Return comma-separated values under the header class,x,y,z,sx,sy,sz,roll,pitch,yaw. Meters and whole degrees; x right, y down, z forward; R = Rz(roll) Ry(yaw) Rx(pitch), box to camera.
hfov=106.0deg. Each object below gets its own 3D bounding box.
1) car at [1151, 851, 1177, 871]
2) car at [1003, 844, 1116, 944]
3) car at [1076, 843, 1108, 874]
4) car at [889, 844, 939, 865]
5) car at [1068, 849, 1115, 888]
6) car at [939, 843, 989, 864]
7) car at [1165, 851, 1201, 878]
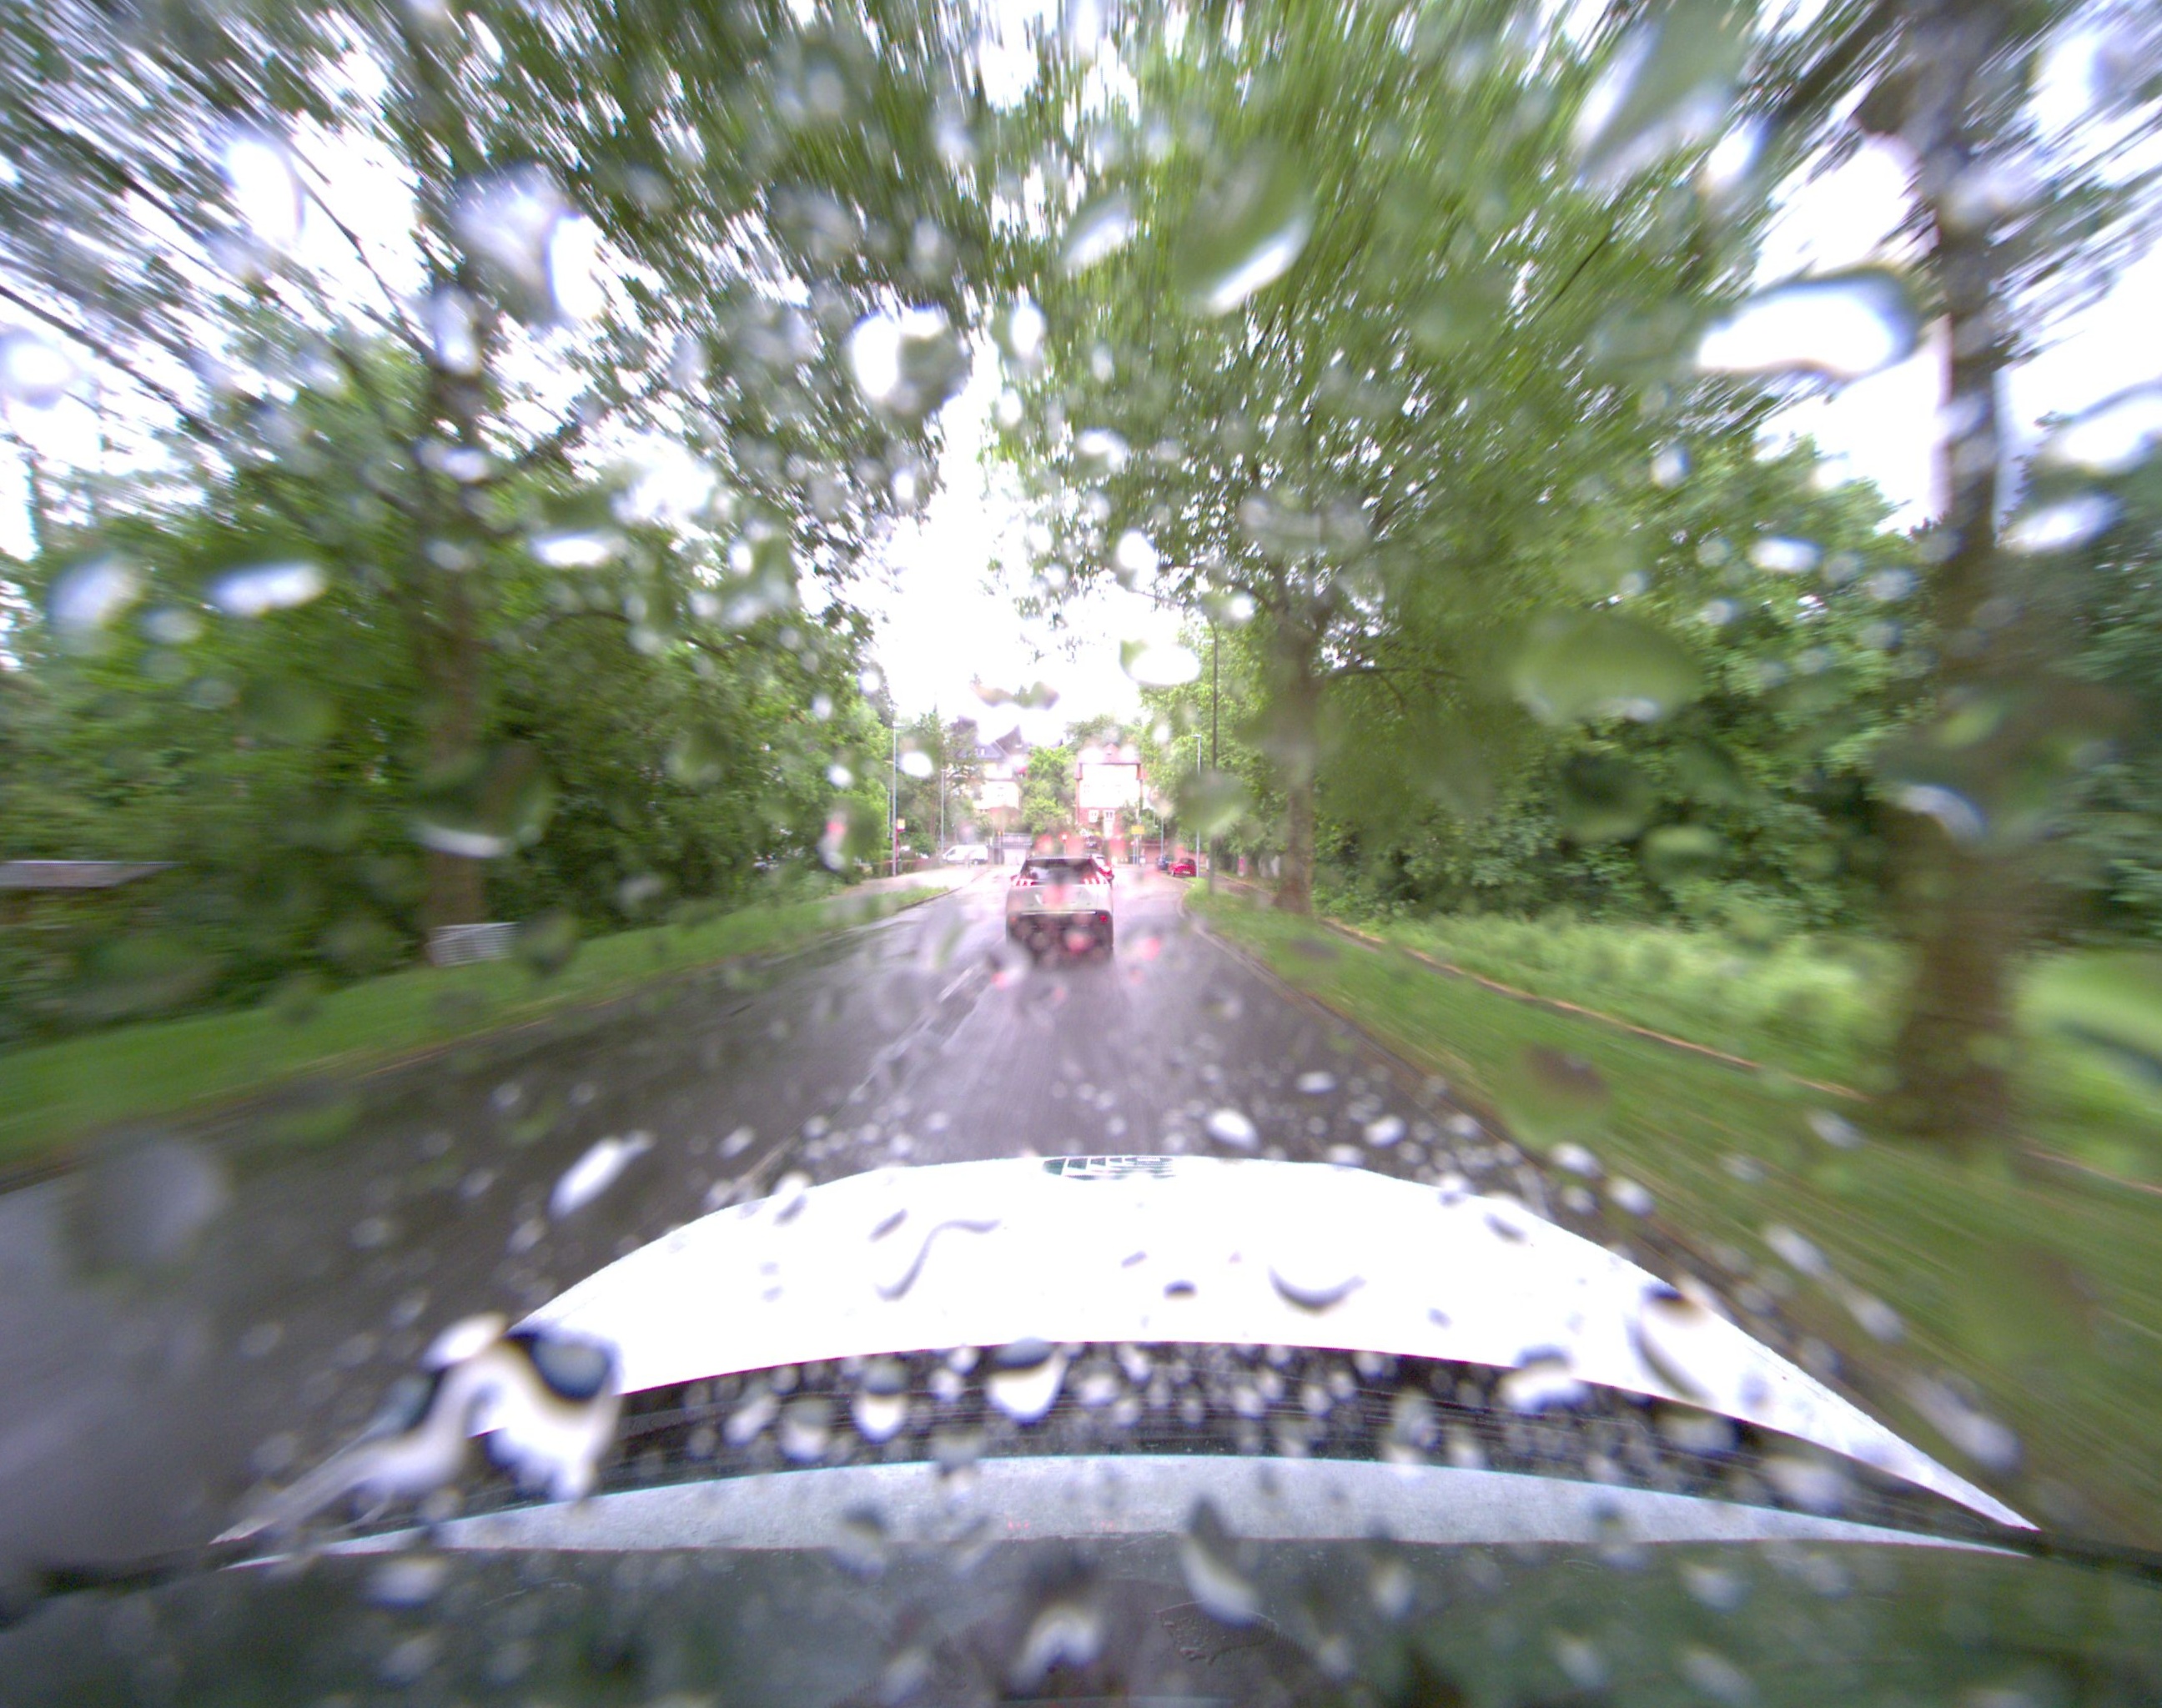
class,x,y,z,sx,sy,sz,roll,pitch,yaw
car,6.838,0.554,67.471,1.743,1.491,3.600,3,0,1
car,-0.300,0.616,14.828,1.746,1.536,4.368,-1,0,1
car,0.625,0.226,49.057,1.755,1.711,4.599,2,1,-1
car,-20.515,0.050,100.401,5.541,2.494,2.316,1,-1,2
car,0.482,0.564,35.368,1.825,1.456,4.660,3,1,1
car,-14.318,-0.043,100.124,5.639,2.494,2.316,1,-1,2
car,7.205,0.723,57.728,1.815,1.517,3.741,7,2,-2
